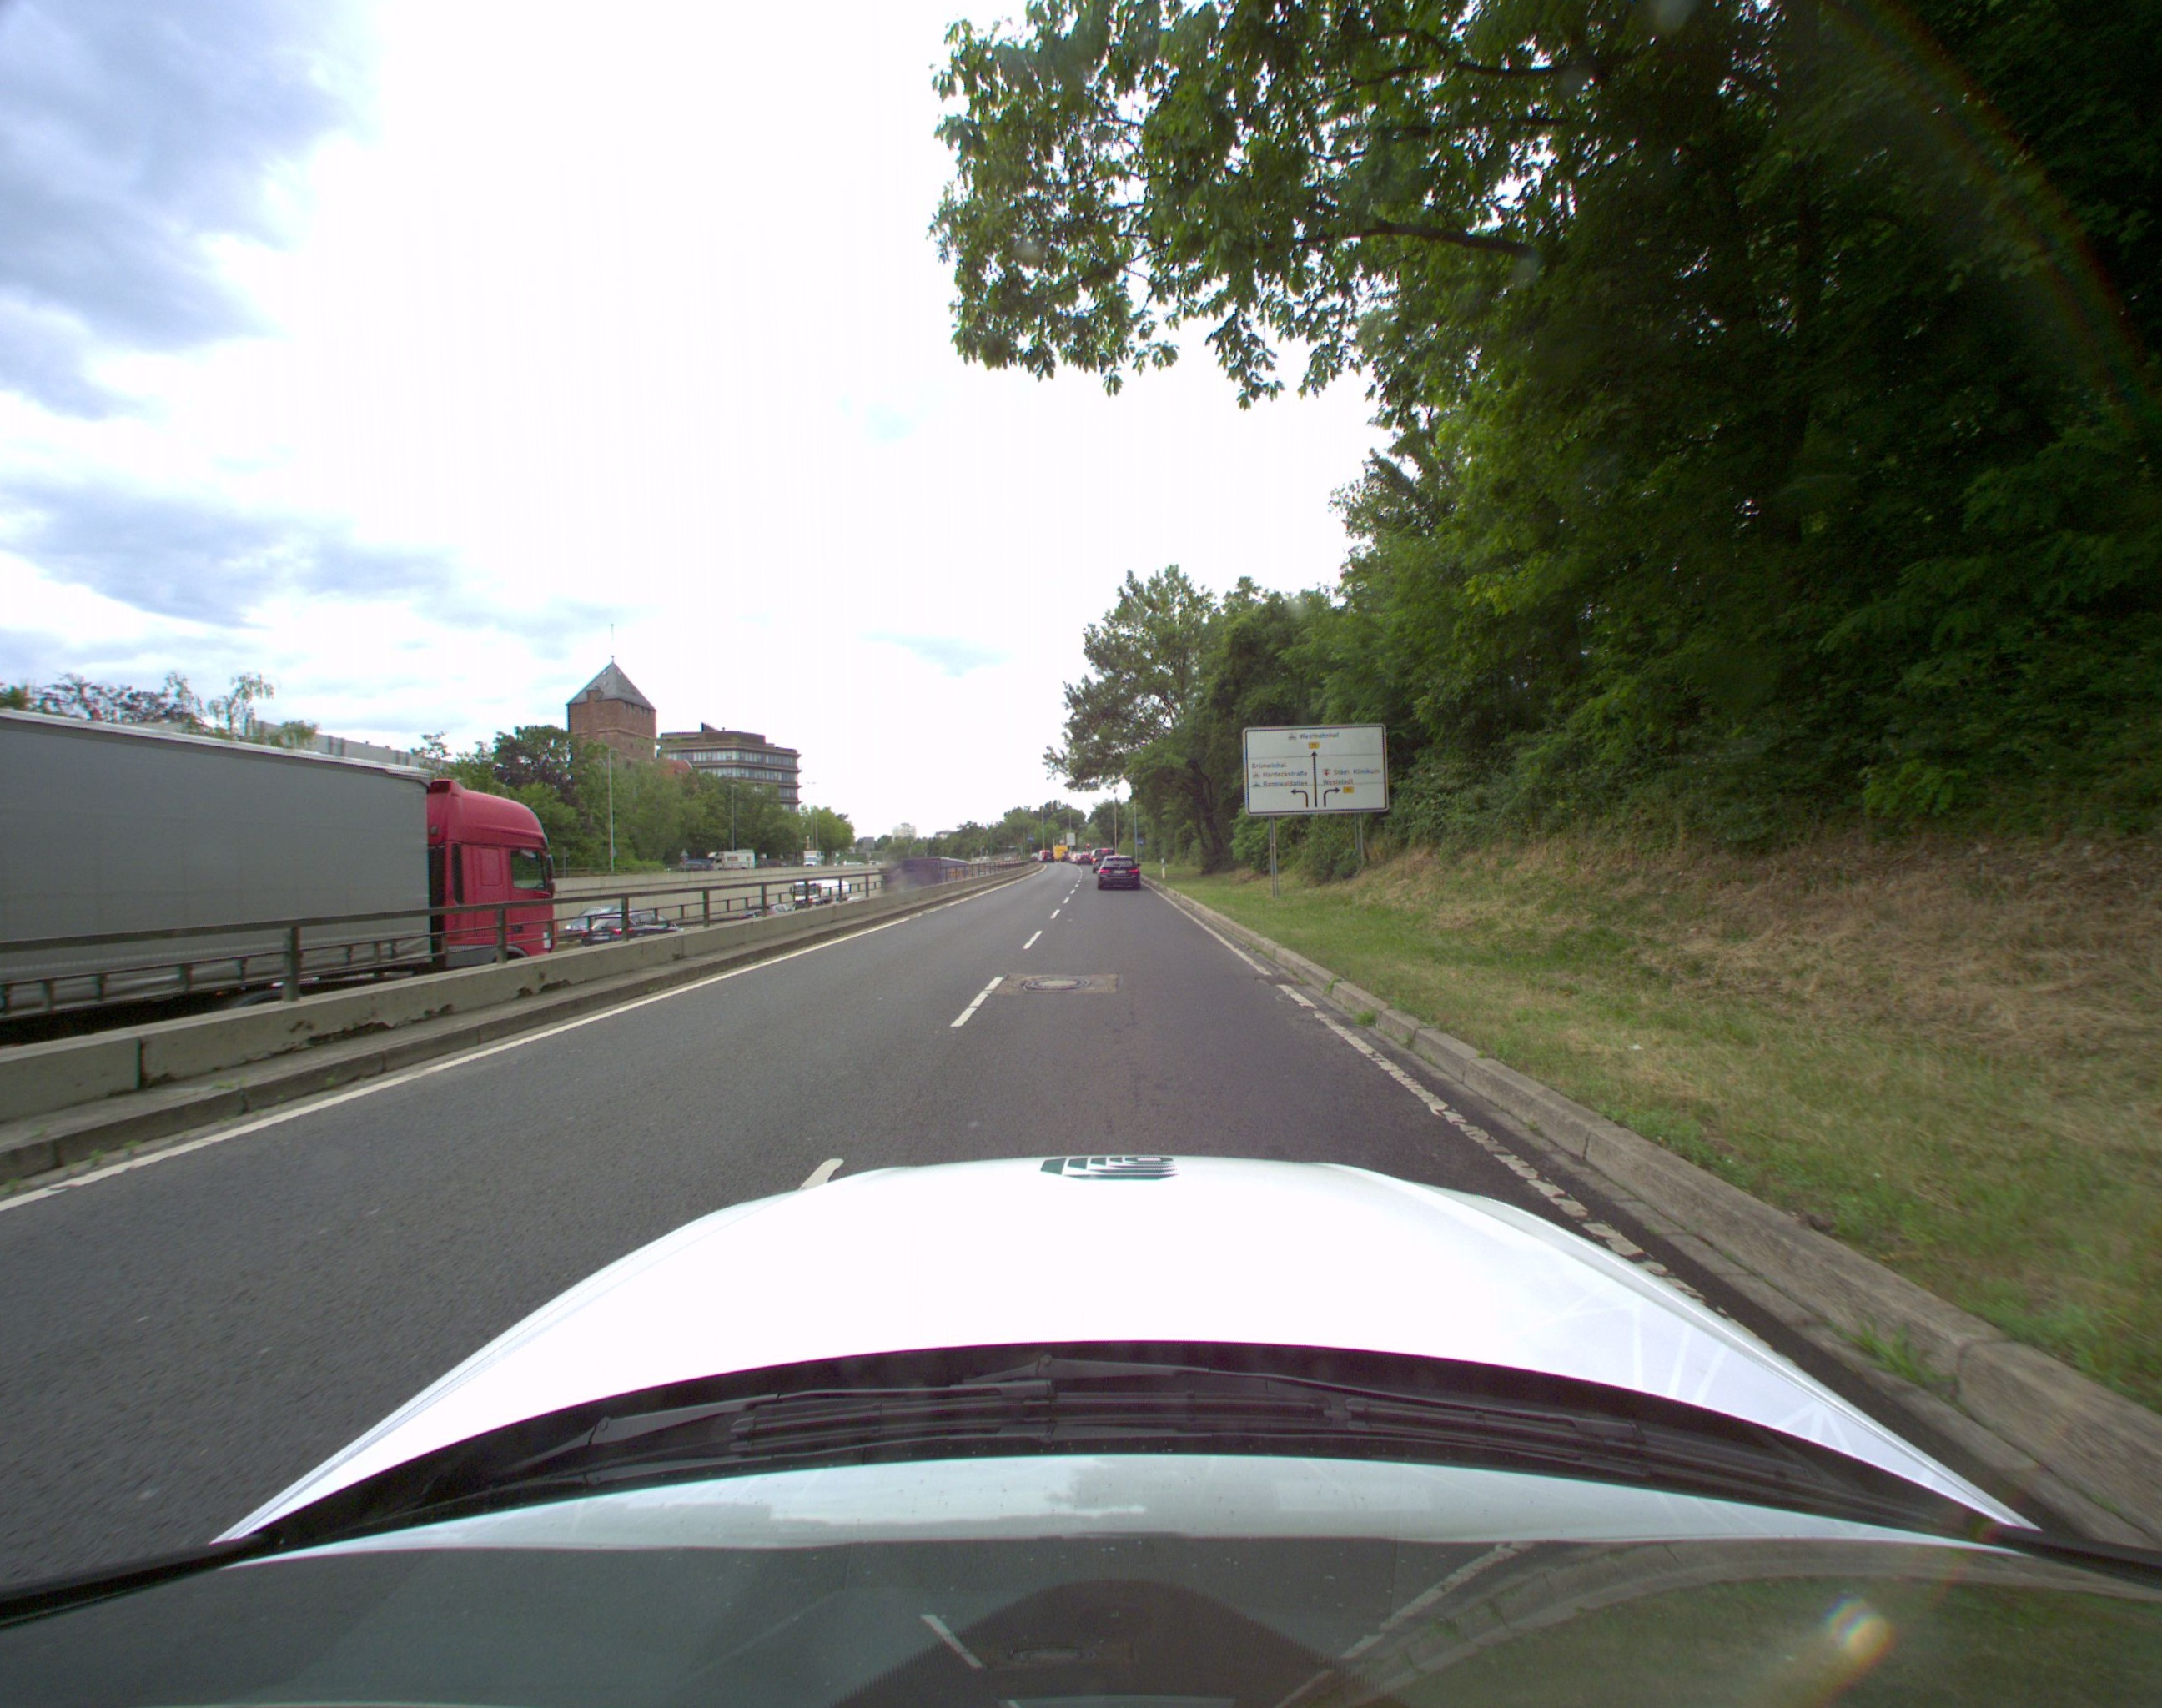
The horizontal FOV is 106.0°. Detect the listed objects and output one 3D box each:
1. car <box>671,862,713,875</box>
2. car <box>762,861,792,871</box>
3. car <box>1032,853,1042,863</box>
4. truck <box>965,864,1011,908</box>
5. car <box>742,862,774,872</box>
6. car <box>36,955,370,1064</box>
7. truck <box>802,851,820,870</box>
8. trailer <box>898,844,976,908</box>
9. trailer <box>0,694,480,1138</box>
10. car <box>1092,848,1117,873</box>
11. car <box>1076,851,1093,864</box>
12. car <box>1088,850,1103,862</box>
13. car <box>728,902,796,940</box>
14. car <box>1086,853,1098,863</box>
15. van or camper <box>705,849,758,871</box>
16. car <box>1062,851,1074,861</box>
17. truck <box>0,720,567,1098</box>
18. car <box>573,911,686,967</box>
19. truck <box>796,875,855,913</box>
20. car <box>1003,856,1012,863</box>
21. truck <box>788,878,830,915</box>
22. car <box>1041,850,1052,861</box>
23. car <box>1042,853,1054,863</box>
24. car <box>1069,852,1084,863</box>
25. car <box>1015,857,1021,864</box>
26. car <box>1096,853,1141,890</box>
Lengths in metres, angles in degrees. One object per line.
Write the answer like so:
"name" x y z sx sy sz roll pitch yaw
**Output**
"car" -45.291 1.709 94.863 1.608 1.441 4.025 -1 -1 40
"car" -46.663 1.859 124.891 1.608 1.441 4.025 -1 -1 40
"car" -8.157 0.729 149.805 1.621 1.701 4.287 0 -1 -6
"truck" -9.579 3.192 85.835 2.841 4.037 15.576 -2 -1 0
"car" -46.275 1.890 116.846 1.608 1.441 4.025 -1 -1 40
"car" -15.287 2.651 14.547 1.649 1.213 3.899 0 0 2
"truck" -42.450 1.035 128.194 2.018 2.987 7.067 0 -1 -13
"trailer" -10.408 1.505 61.073 2.842 4.037 16.003 -2 -1 0
"trailer" -11.209 0.585 5.738 2.641 4.037 14.560 -2 -1 2
"car" 1.900 0.538 64.838 1.892 1.884 4.417 0 -1 2
"car" 0.403 0.427 103.970 1.881 1.592 4.423 0 0 -4
"car" 2.267 0.318 128.144 1.881 1.880 4.423 0 -1 -4
"car" -15.273 3.185 39.173 1.617 1.529 3.898 0 0 2
"car" 1.752 0.669 136.470 1.879 1.545 3.998 0 0 -1
"van or camper" -45.645 0.801 106.458 5.958 2.810 2.120 0 -1 -44
"car" -2.274 0.392 140.344 1.881 1.700 4.423 0 0 -4
"truck" -11.017 0.638 11.987 2.695 4.037 6.205 -2 -1 2
"car" -15.405 2.871 28.054 1.649 1.529 3.898 0 0 1
"truck" -25.960 3.986 83.421 2.517 3.352 11.047 -2 -1 0
"car" -18.429 1.281 203.925 1.627 1.701 4.273 0 -1 -16
"truck" -25.949 3.993 77.924 2.517 3.220 4.317 -2 -1 -1
"car" -6.079 0.299 143.415 1.881 1.987 4.423 0 -1 -4
"car" -5.521 0.670 135.335 1.621 1.701 4.287 0 -1 -6
"car" -0.729 0.548 118.204 1.881 1.592 4.423 0 0 -4
"car" -17.211 1.807 223.516 1.621 1.701 4.287 0 -1 -6
"car" 1.590 0.712 35.708 1.743 1.426 4.461 -1 1 0
